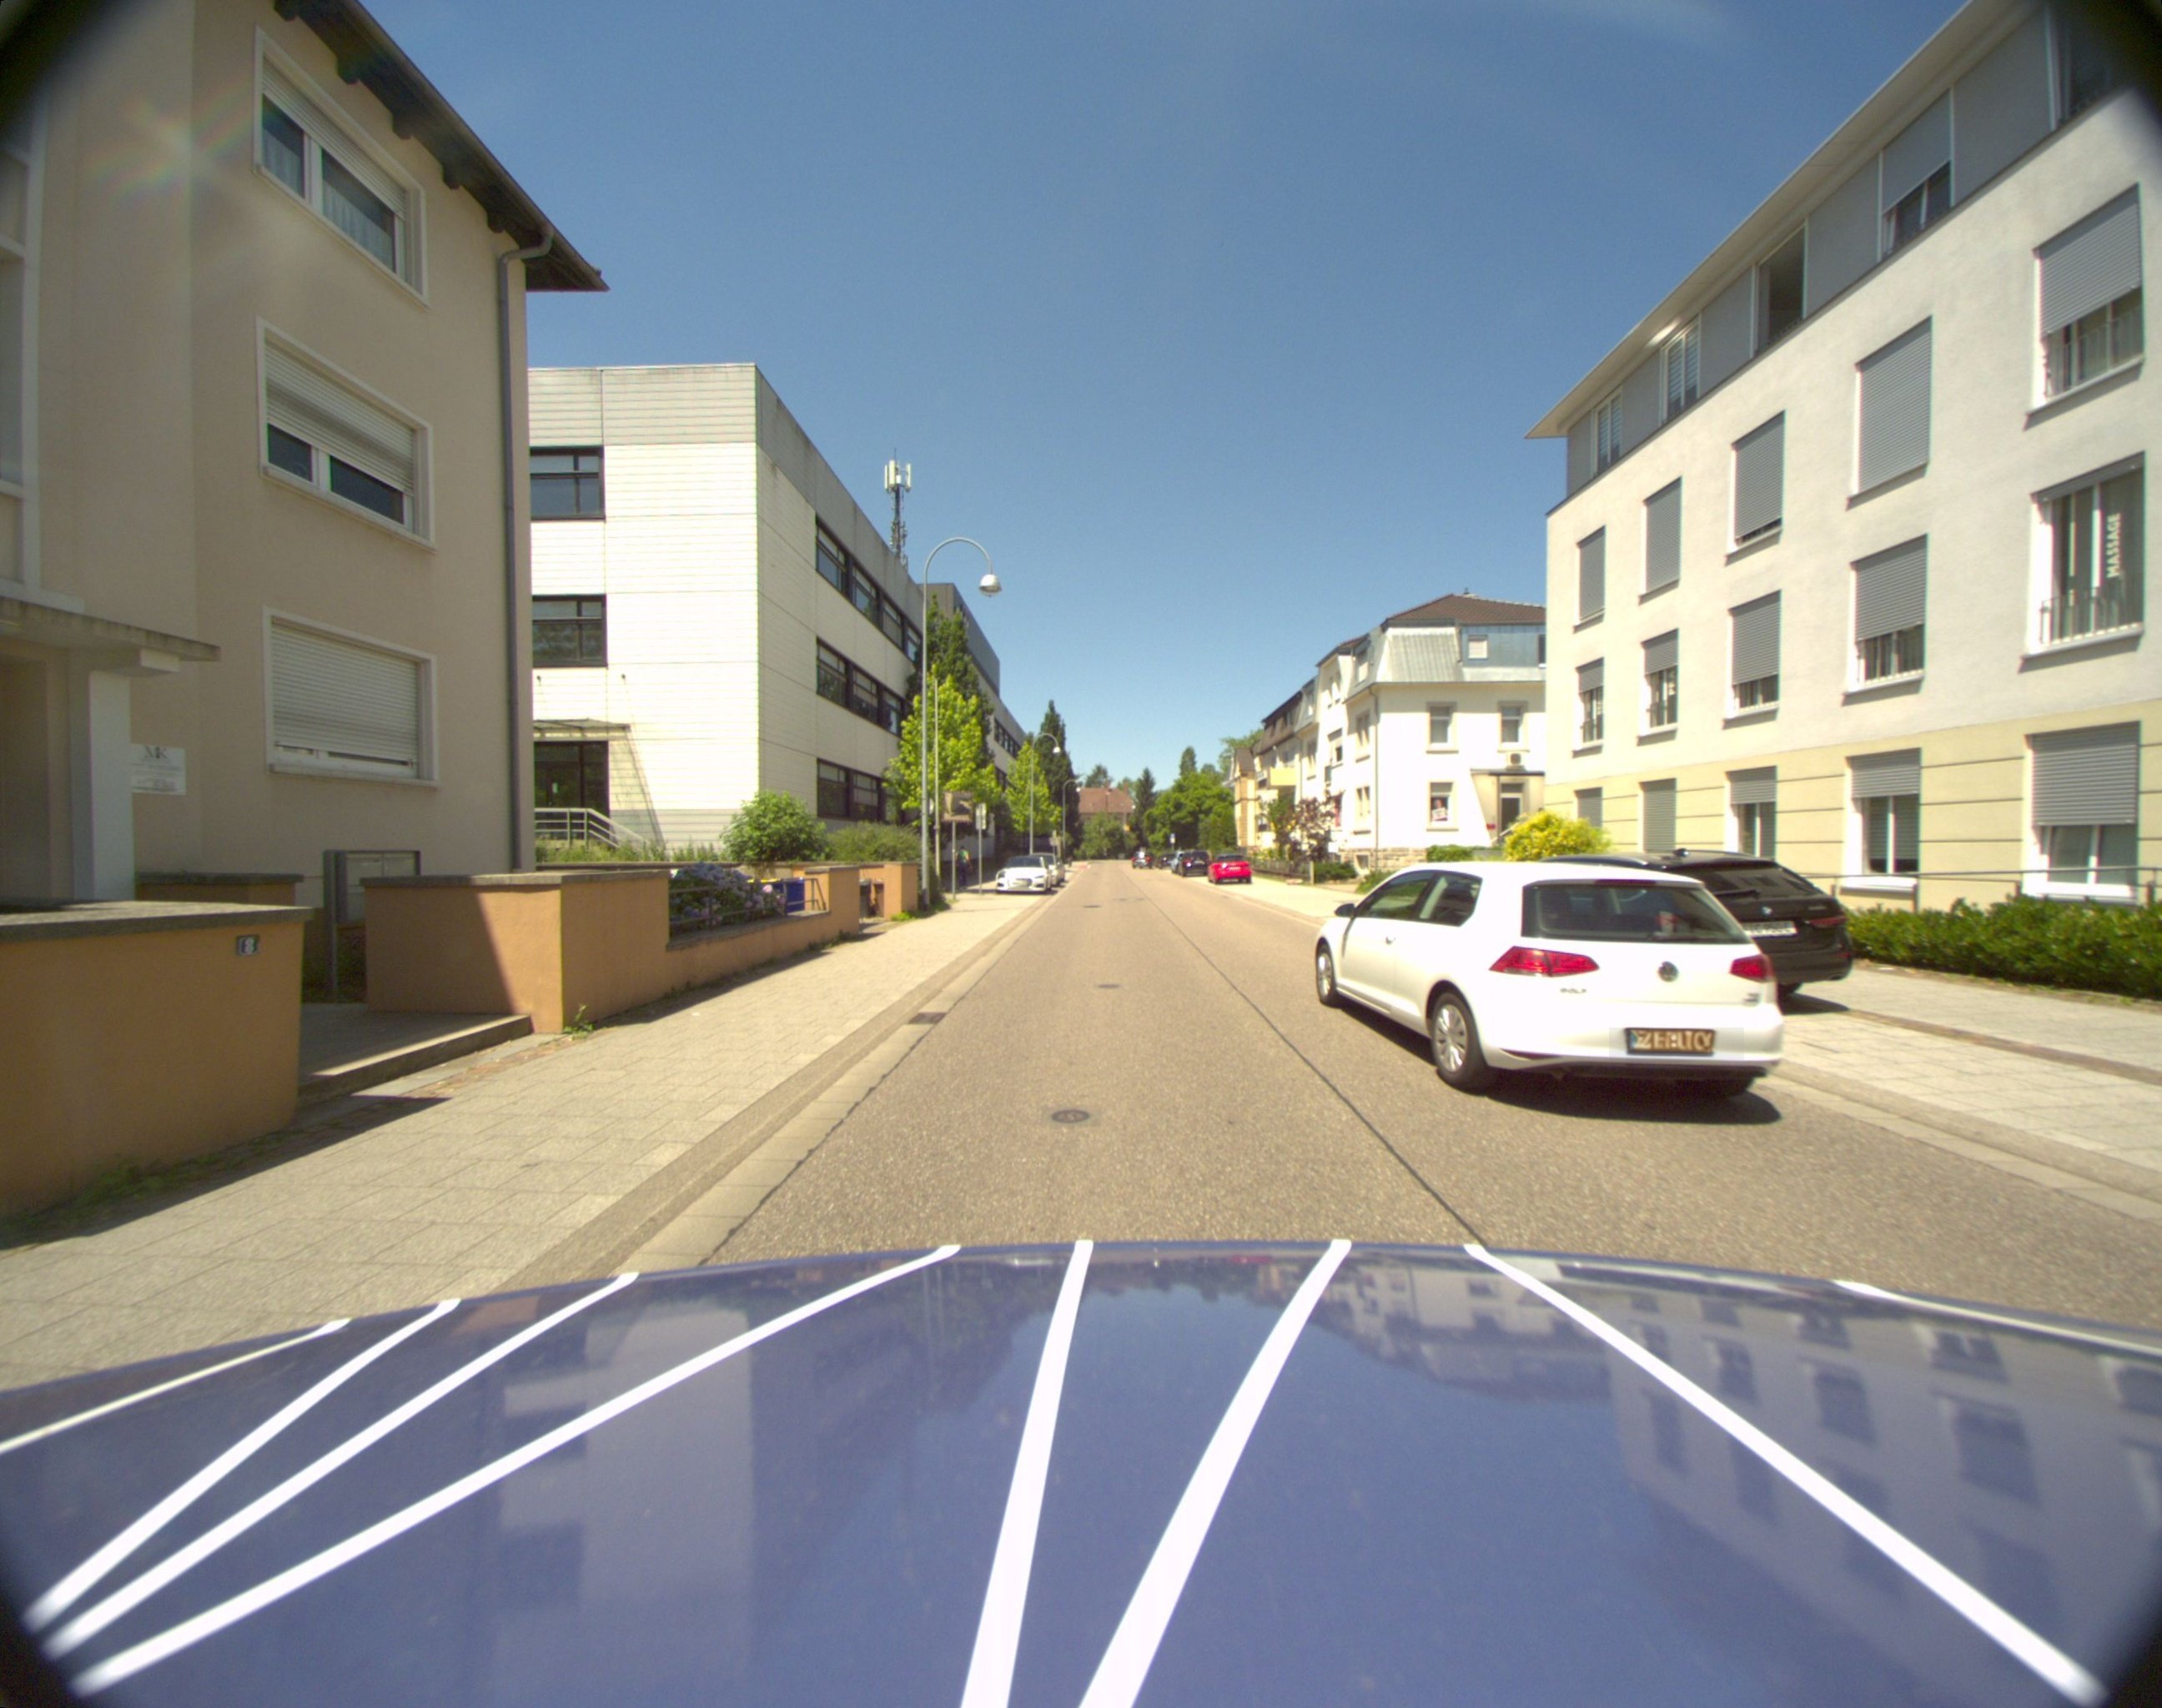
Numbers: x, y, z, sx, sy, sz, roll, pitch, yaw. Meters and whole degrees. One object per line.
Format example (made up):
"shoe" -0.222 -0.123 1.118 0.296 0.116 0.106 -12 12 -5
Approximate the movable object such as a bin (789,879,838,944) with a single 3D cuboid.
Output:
"movable object such as a bin" -4.740 1.007 13.489 0.626 1.093 0.633 0 1 4

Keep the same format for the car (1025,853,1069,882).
"car" -1.723 0.664 39.569 1.841 1.357 4.001 1 1 3

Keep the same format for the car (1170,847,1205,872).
"car" 7.411 0.343 53.332 1.925 1.577 4.287 -3 1 2

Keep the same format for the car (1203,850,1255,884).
"car" 7.041 0.576 36.523 1.736 1.444 4.260 -3 1 2

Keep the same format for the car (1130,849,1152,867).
"car" 5.715 0.372 72.578 1.925 1.668 4.287 0 1 2

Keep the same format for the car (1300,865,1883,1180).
"car" 3.156 0.890 5.804 1.812 1.474 3.868 1 1 0

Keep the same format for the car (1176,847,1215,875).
"car" 7.155 0.414 47.820 1.925 1.577 4.436 -3 1 2

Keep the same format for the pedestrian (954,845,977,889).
"pedestrian" -4.606 0.512 30.265 0.680 1.690 1.050 1 1 2

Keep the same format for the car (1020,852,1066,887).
"car" -1.676 0.654 34.524 1.714 1.490 3.877 1 1 2

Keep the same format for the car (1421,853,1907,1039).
"car" 6.085 0.781 9.010 1.921 1.444 5.149 -3 0 2

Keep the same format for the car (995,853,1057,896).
"car" -2.025 0.732 29.325 1.920 1.460 4.880 1 1 2

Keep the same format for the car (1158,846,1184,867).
"car" 7.992 0.213 67.712 1.924 1.681 4.288 -3 1 3
